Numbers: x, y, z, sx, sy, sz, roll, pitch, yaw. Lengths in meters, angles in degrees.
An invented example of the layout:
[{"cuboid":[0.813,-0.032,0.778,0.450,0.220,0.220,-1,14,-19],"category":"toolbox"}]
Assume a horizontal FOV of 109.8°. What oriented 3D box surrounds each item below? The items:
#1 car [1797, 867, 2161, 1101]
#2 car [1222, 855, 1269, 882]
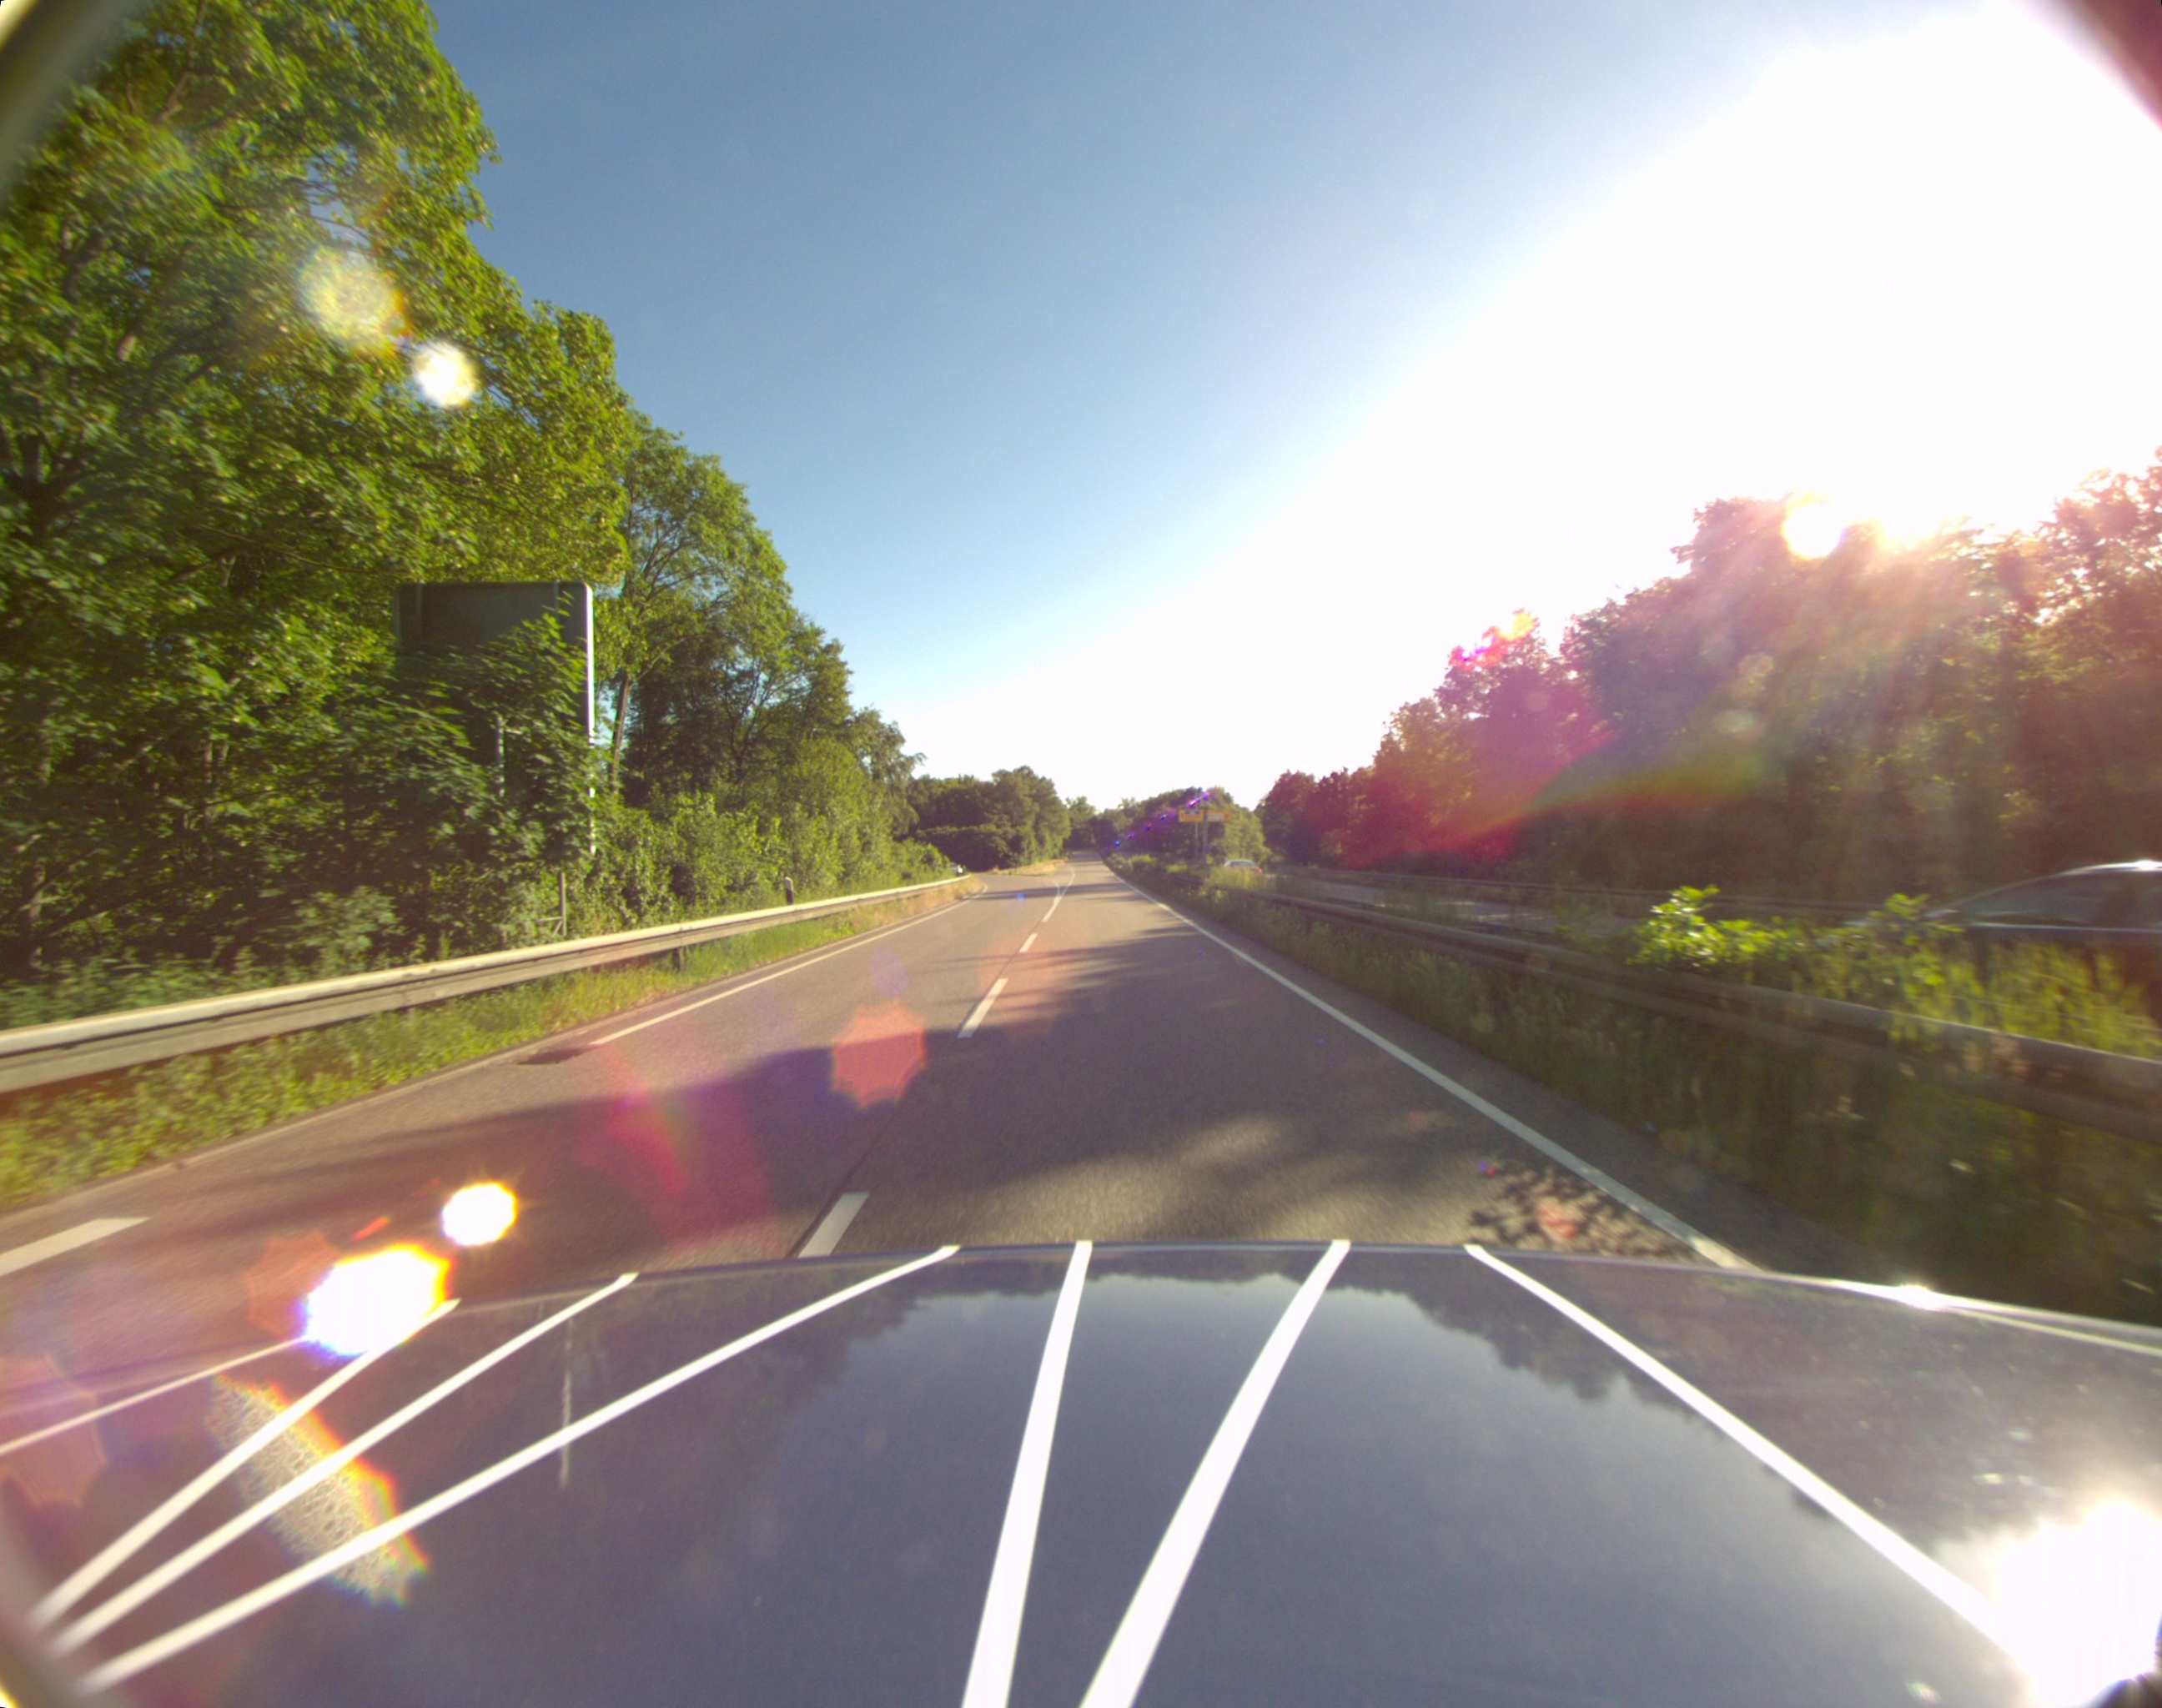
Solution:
[{"cuboid":[8.080,0.895,5.476,1.622,1.521,4.609,0,0,2],"category":"car"},{"cuboid":[9.032,0.787,42.037,1.785,1.395,4.553,0,0,2],"category":"car"}]
